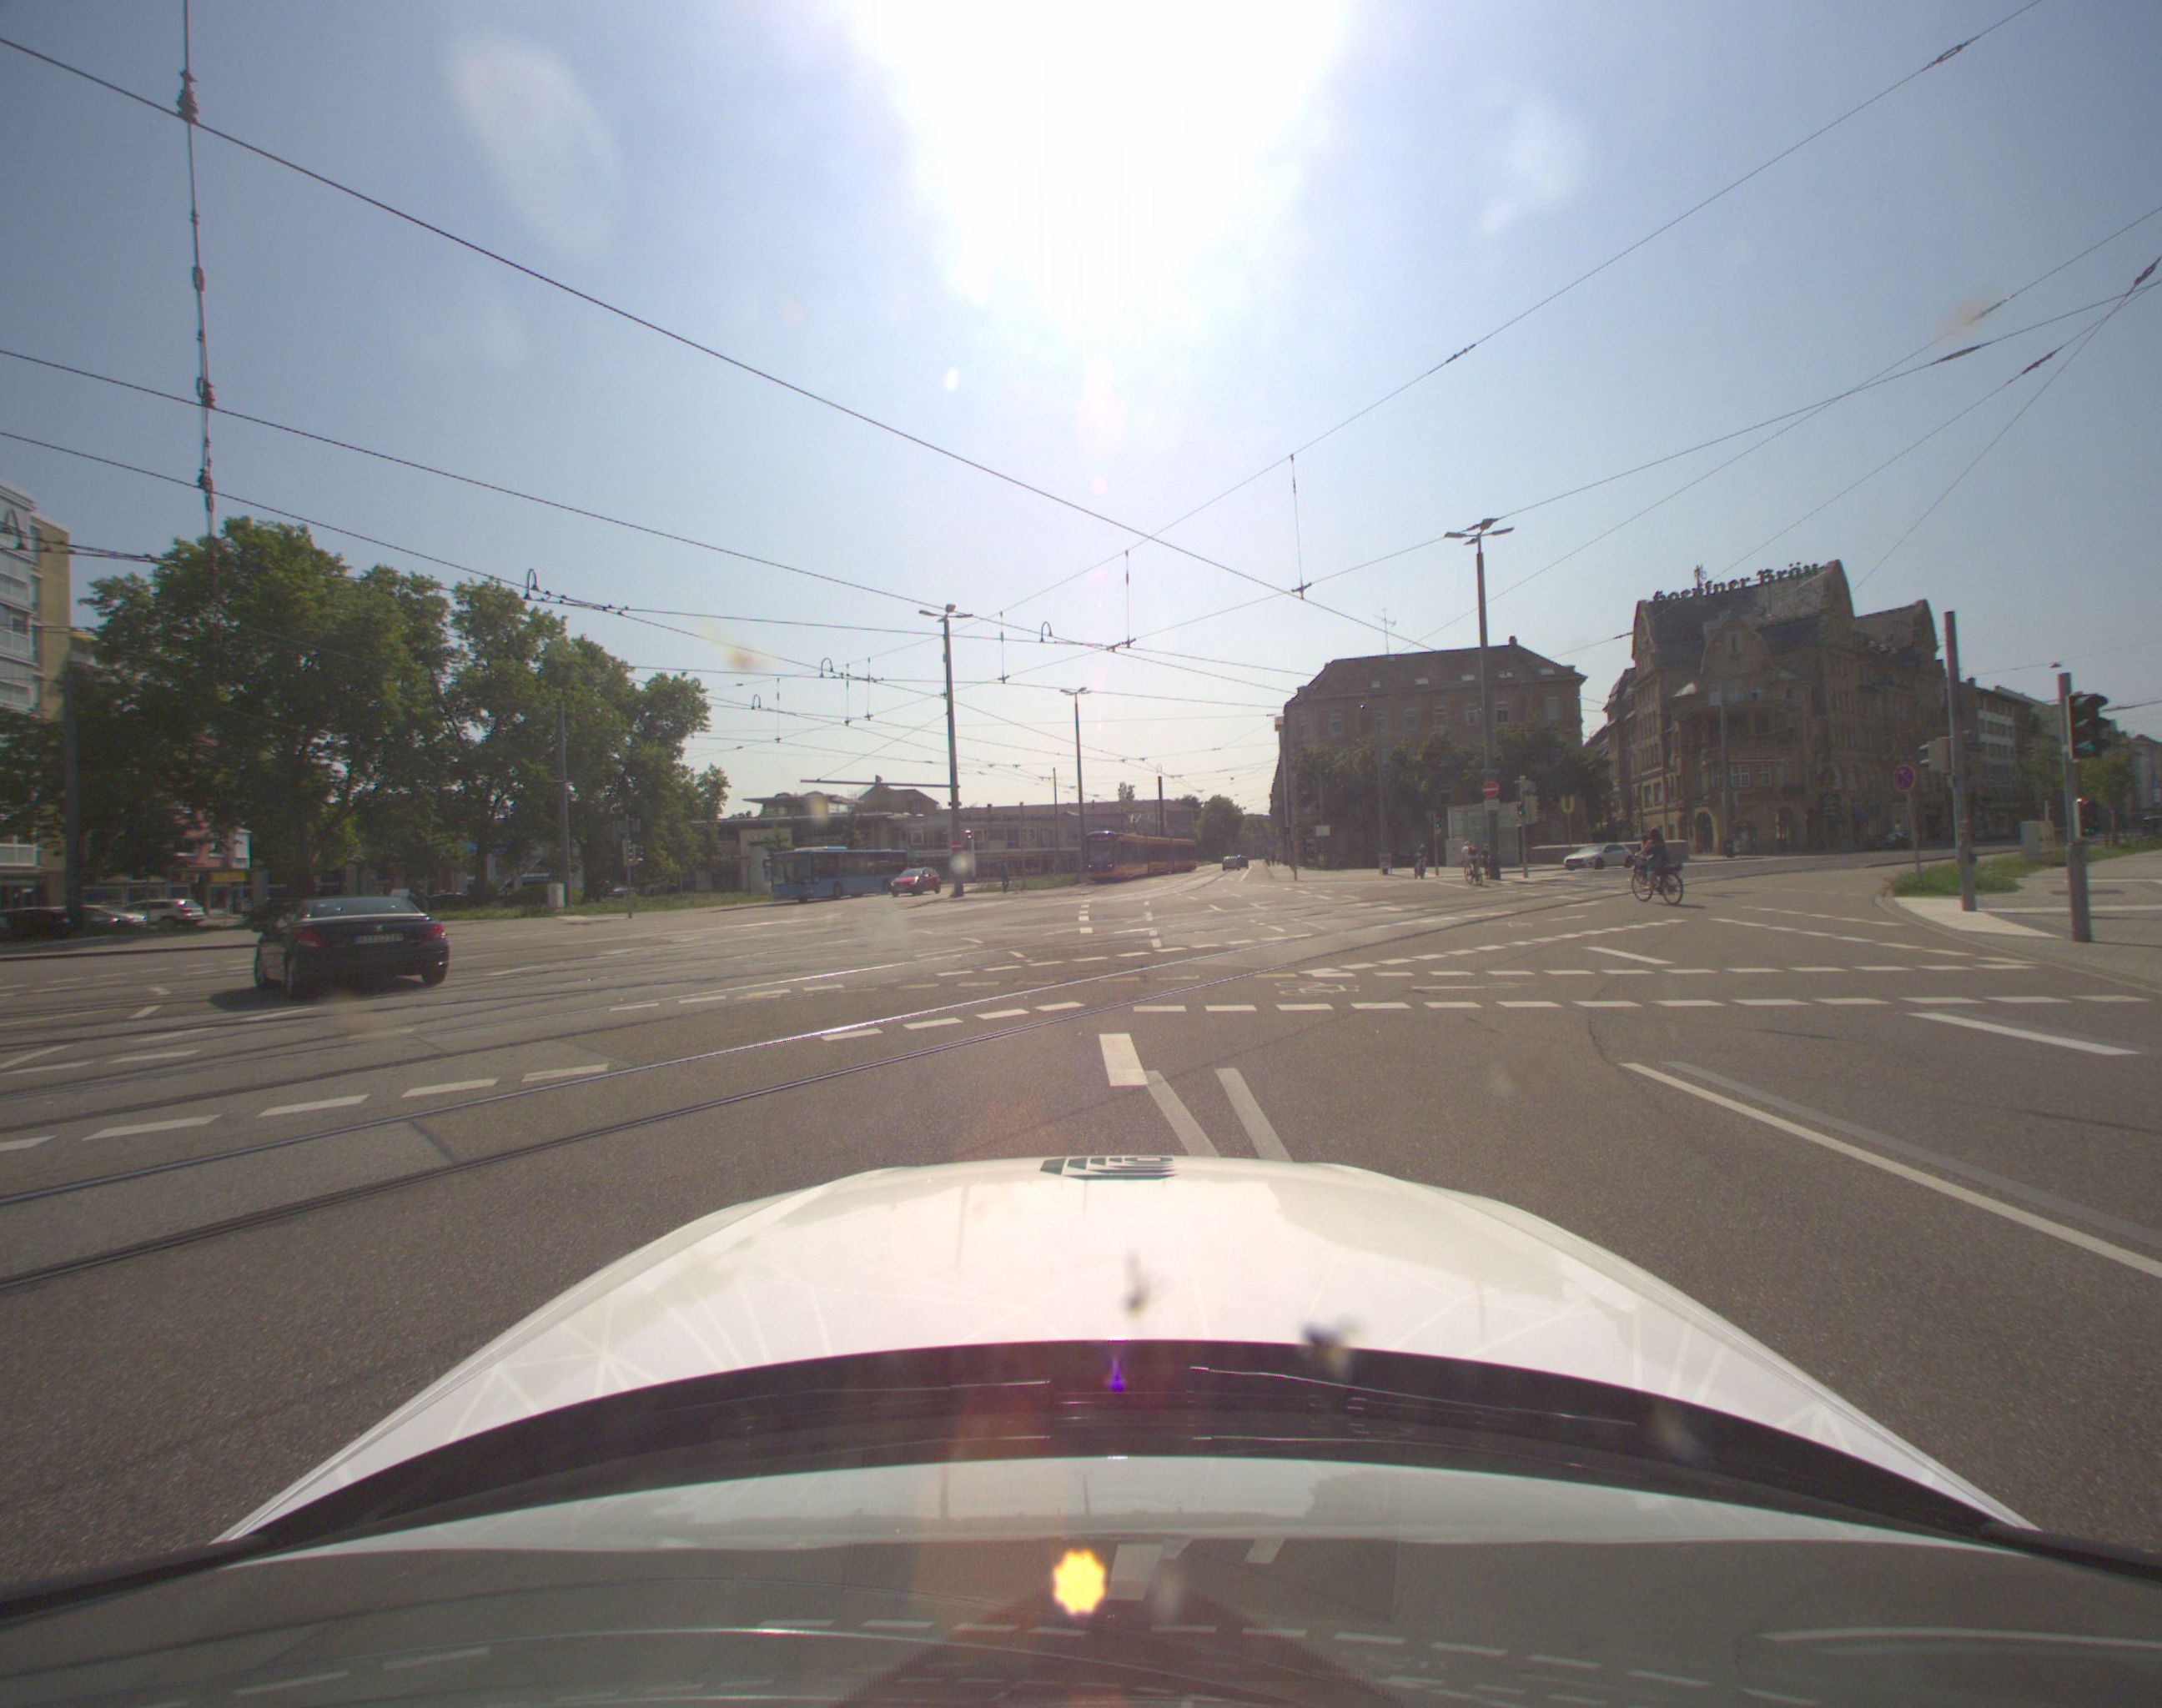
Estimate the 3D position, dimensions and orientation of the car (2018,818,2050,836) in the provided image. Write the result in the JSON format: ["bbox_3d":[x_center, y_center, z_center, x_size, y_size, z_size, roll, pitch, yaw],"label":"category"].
[{"bbox_3d":[117.750,-3.338,100.627,4.014,2.014,1.980,-2,-1,-32],"label":"car"}]

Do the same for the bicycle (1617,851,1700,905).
[{"bbox_3d":[12.923,0.502,18.300,0.438,1.111,2.130,-2,1,3],"label":"bicycle"}]

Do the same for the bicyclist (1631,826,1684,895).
[{"bbox_3d":[12.866,0.139,18.191,0.653,1.481,0.645,-2,-1,3],"label":"bicyclist"}]

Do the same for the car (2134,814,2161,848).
[{"bbox_3d":[67.227,-1.437,50.216,4.007,2.014,1.983,0,-2,-26],"label":"car"}]

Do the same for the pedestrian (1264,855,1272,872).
[{"bbox_3d":[23.420,1.193,102.097,0.787,2.014,0.811,-1,-2,5],"label":"pedestrian"}]

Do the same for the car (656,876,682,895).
[{"bbox_3d":[-44.641,3.369,88.400,2.338,2.014,6.751,0,-1,-25],"label":"car"}]

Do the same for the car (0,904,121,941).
[{"bbox_3d":[-49.052,3.244,38.536,4.250,1.470,1.892,-2,-1,-23],"label":"car"}]

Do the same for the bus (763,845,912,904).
[{"bbox_3d":[-14.348,1.108,49.712,2.705,3.064,12.129,-2,-1,15],"label":"bus"}]

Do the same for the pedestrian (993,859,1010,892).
[{"bbox_3d":[-4.113,1.113,42.412,0.801,1.687,0.718,-2,-1,-5],"label":"pedestrian"}]

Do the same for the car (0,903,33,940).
[{"bbox_3d":[-47.386,2.950,33.844,4.250,1.470,1.892,-2,-1,-23],"label":"car"}]

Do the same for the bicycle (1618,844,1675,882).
[{"bbox_3d":[17.565,0.272,25.344,0.468,1.126,1.959,-2,-1,3],"label":"bicycle"}]

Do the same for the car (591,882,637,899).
[{"bbox_3d":[-48.506,3.796,84.711,1.981,1.508,4.012,-2,-1,11],"label":"car"}]

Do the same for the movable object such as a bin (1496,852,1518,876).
[{"bbox_3d":[20.324,0.477,38.890,0.811,1.085,1.044,-2,-2,22],"label":"movable object such as a bin"}]

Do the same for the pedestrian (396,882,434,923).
[{"bbox_3d":[-27.625,2.002,33.802,0.951,1.609,0.787,-3,0,-23],"label":"pedestrian"}]

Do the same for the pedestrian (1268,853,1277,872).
[{"bbox_3d":[21.119,0.950,90.022,0.835,2.014,0.811,-1,-2,5],"label":"pedestrian"}]

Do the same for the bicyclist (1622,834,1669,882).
[{"bbox_3d":[17.588,0.122,25.398,0.797,1.423,0.931,-2,-1,3],"label":"bicyclist"}]

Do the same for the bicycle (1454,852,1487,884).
[{"bbox_3d":[14.233,0.504,29.800,0.438,1.111,1.644,-2,-1,3],"label":"bicycle"}]

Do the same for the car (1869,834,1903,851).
[{"bbox_3d":[67.890,-0.935,68.660,3.269,1.398,1.360,0,-2,-34],"label":"car"}]

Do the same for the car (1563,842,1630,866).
[{"bbox_3d":[28.614,0.004,45.163,3.738,1.288,1.572,0,-2,-30],"label":"car"}]

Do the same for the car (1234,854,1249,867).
[{"bbox_3d":[18.645,0.748,94.742,1.500,1.511,3.633,-2,-1,9],"label":"car"}]

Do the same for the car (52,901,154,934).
[{"bbox_3d":[-51.329,3.319,42.806,3.101,1.429,1.393,-2,-1,-23],"label":"car"}]

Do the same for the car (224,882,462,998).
[{"bbox_3d":[-11.342,1.220,12.447,3.948,1.431,1.807,-3,-1,34],"label":"car"}]

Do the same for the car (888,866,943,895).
[{"bbox_3d":[-9.436,1.497,46.751,1.613,1.472,3.785,-2,-1,13],"label":"car"}]

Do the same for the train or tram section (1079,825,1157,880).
[{"bbox_3d":[2.918,0.026,58.676,2.567,3.561,12.270,-1,-1,17],"label":"train or tram section"}]

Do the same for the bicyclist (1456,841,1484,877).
[{"bbox_3d":[14.204,0.185,29.756,0.653,1.254,0.645,-2,-1,3],"label":"bicyclist"}]

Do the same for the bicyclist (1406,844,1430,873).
[{"bbox_3d":[16.007,0.230,38.697,0.744,1.320,0.922,-2,-1,3],"label":"bicyclist"}]

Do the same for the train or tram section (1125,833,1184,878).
[{"bbox_3d":[6.571,0.253,70.862,2.567,3.561,12.270,-1,-1,17],"label":"train or tram section"}]

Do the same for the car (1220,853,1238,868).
[{"bbox_3d":[15.451,0.705,84.921,1.722,1.574,3.620,-1,-1,8],"label":"car"}]

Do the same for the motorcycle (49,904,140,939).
[{"bbox_3d":[-37.295,2.552,30.811,2.104,1.137,0.910,-3,-1,-8],"label":"motorcycle"}]

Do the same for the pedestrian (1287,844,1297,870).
[{"bbox_3d":[17.112,0.247,65.910,0.645,2.014,0.705,-2,-1,9],"label":"pedestrian"}]

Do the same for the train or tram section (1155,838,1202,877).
[{"bbox_3d":[10.001,0.462,82.153,2.567,3.561,12.270,-1,-1,17],"label":"train or tram section"}]

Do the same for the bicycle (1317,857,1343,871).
[{"bbox_3d":[18.602,0.769,60.845,1.773,0.958,0.463,-2,-1,6],"label":"bicycle"}]

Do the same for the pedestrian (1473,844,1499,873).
[{"bbox_3d":[19.895,0.224,40.017,0.718,1.351,0.813,-2,-1,-12],"label":"pedestrian"}]

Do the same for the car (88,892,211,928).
[{"bbox_3d":[-51.848,3.100,45.428,4.077,1.666,1.777,-2,-1,-23],"label":"car"}]

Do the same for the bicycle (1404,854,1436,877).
[{"bbox_3d":[16.029,0.532,38.575,0.641,0.998,2.377,-2,-1,3],"label":"bicycle"}]

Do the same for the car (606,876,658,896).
[{"bbox_3d":[-45.237,3.224,82.133,1.694,1.753,4.287,-3,-1,30],"label":"car"}]
